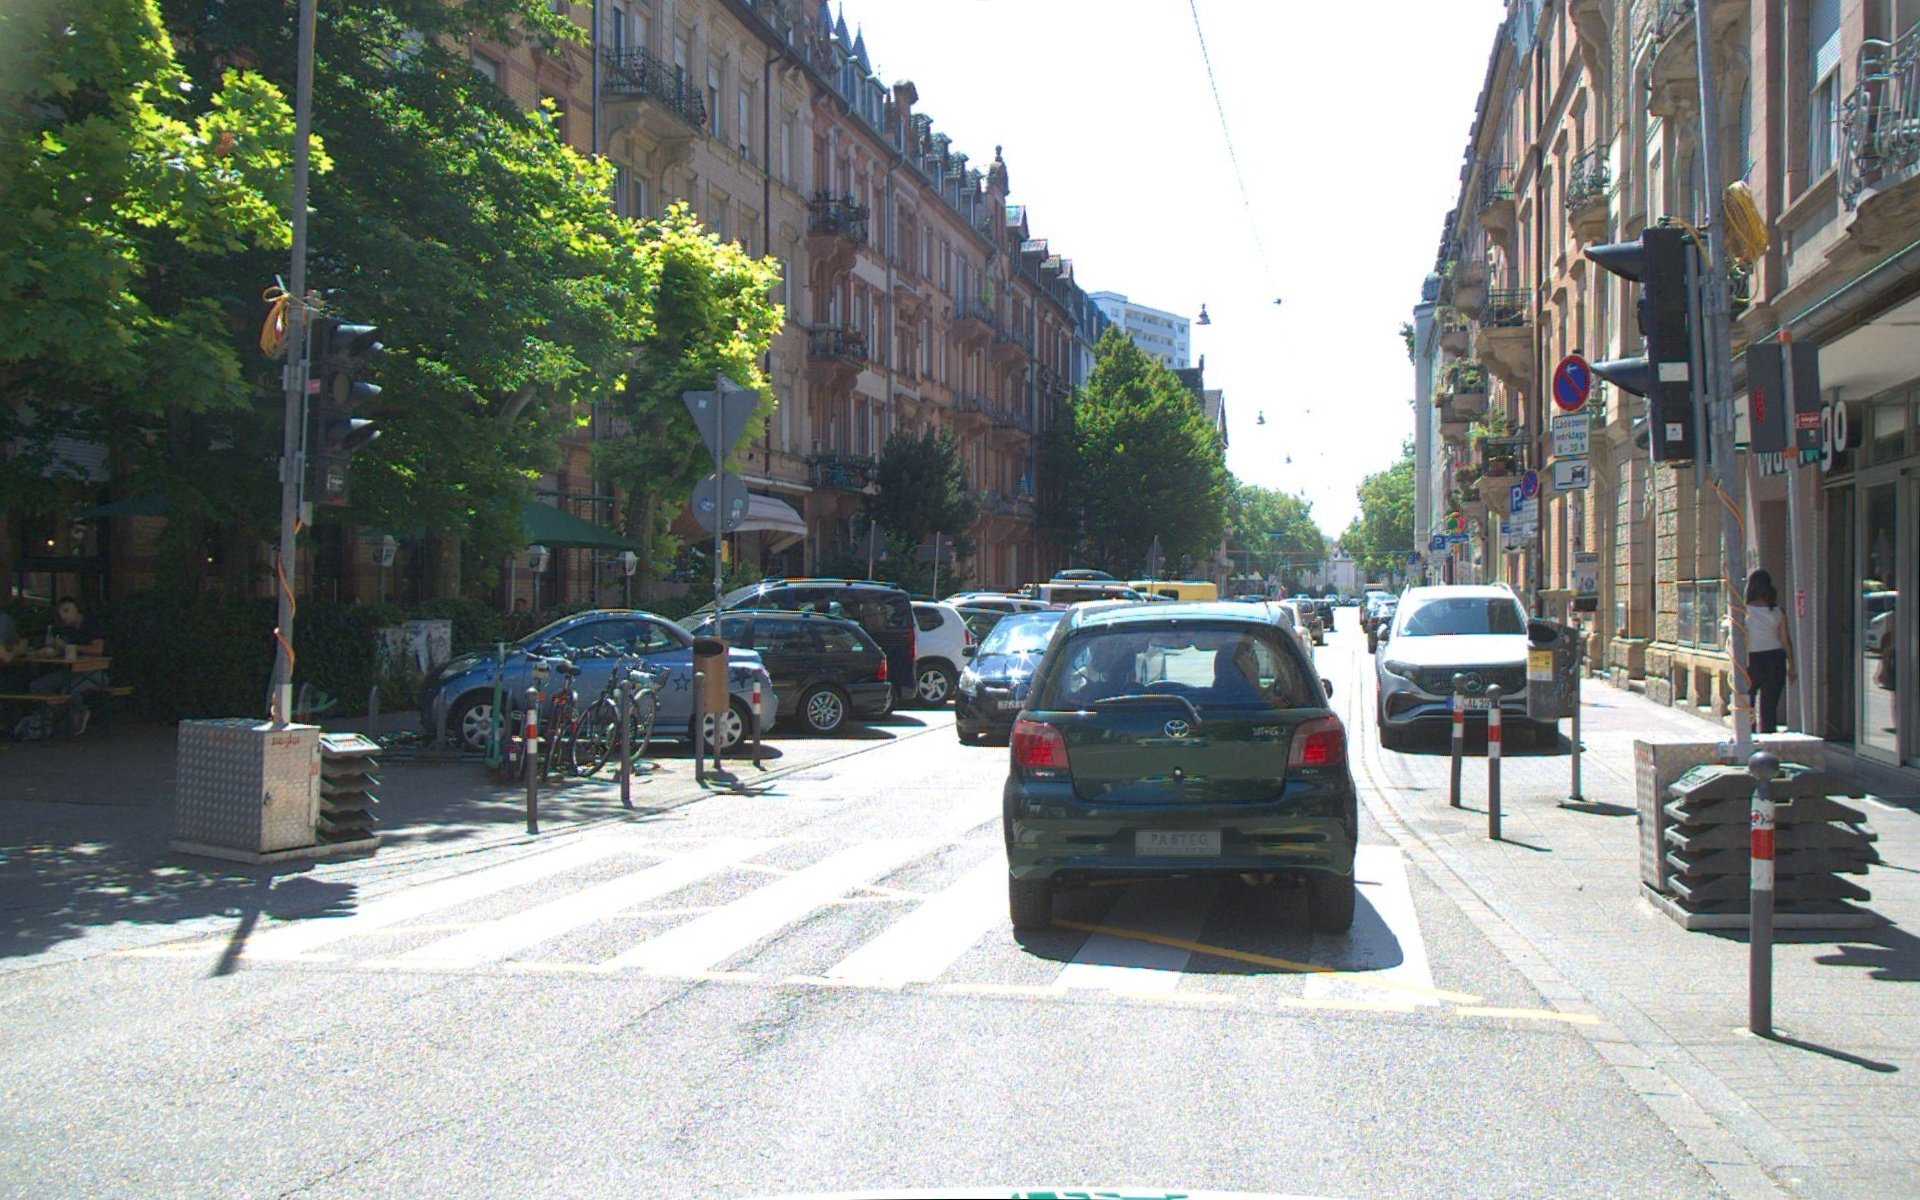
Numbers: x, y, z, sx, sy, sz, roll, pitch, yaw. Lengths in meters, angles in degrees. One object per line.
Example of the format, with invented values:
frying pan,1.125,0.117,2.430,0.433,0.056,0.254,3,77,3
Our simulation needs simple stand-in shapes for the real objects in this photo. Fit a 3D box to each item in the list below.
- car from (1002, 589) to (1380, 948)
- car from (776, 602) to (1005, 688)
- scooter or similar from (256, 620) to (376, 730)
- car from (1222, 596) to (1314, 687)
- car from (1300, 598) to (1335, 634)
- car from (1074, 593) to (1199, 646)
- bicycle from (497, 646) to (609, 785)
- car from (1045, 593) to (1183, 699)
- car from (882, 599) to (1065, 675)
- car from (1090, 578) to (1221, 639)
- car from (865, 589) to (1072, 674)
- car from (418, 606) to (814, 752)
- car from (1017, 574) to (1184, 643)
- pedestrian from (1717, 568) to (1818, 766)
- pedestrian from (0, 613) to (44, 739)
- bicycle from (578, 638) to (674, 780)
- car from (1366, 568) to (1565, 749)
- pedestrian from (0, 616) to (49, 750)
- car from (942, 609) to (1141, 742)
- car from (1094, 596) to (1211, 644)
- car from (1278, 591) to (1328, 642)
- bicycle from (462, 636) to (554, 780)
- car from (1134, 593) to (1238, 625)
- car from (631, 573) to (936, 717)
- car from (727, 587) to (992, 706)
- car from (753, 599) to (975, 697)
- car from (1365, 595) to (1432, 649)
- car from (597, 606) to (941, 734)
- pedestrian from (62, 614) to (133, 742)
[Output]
car,1.060,0.734,8.639,1.580,1.511,3.242,-1,-1,3
car,-1.289,0.797,30.714,3.864,1.496,1.849,0,0,-27
scooter or similar,-7.114,0.803,18.327,0.272,1.140,1.470,2,1,22
car,5.607,0.702,29.880,1.490,1.547,3.266,0,0,13
car,16.355,0.710,75.643,1.490,1.620,3.266,0,0,12
car,5.889,0.659,55.514,3.838,1.738,1.862,0,0,-10
bicycle,-3.654,1.004,14.988,0.480,1.100,1.899,2,0,1
car,2.821,0.769,29.434,1.717,1.674,4.381,-3,-1,14
car,0.273,0.804,37.065,3.838,1.647,1.862,0,0,-10
car,7.304,0.313,61.958,4.479,2.226,1.993,0,0,-13
car,0.182,0.614,33.929,3.863,1.647,1.850,0,0,-27
car,-3.693,0.833,17.834,3.921,1.399,1.992,2,0,-15
car,4.250,0.252,50.325,4.694,2.029,2.045,0,0,-15
pedestrian,6.952,0.561,14.272,0.627,1.652,0.805,0,0,14
pedestrian,-9.536,0.749,16.546,0.548,1.241,0.595,0,0,-20
bicycle,-3.081,0.976,15.370,0.480,1.193,1.685,2,0,1
car,5.553,0.593,18.550,1.831,1.743,4.507,-2,-1,15
pedestrian,-9.004,0.773,15.676,0.548,1.241,0.595,0,0,-20
car,1.116,0.861,20.575,1.717,1.469,4.003,-1,0,14
car,6.808,0.689,58.590,3.791,1.668,1.781,0,0,-10
car,11.402,0.521,54.832,1.490,1.620,3.266,0,0,14
bicycle,-4.058,0.939,14.935,0.330,1.177,1.620,2,0,1
car,10.711,0.421,78.444,4.479,1.459,1.993,0,0,-13
car,-2.454,0.609,22.721,3.921,1.836,1.762,2,0,-16
car,-1.600,0.696,25.602,3.913,1.687,1.756,2,0,-9
car,-1.635,0.786,27.578,3.551,1.483,1.622,2,0,-8
car,12.260,0.596,46.361,1.717,1.454,4.003,-1,0,14
car,-2.400,0.859,20.526,3.925,1.437,1.961,2,0,-18
pedestrian,-8.611,0.762,16.531,0.548,1.241,0.595,0,0,-20
